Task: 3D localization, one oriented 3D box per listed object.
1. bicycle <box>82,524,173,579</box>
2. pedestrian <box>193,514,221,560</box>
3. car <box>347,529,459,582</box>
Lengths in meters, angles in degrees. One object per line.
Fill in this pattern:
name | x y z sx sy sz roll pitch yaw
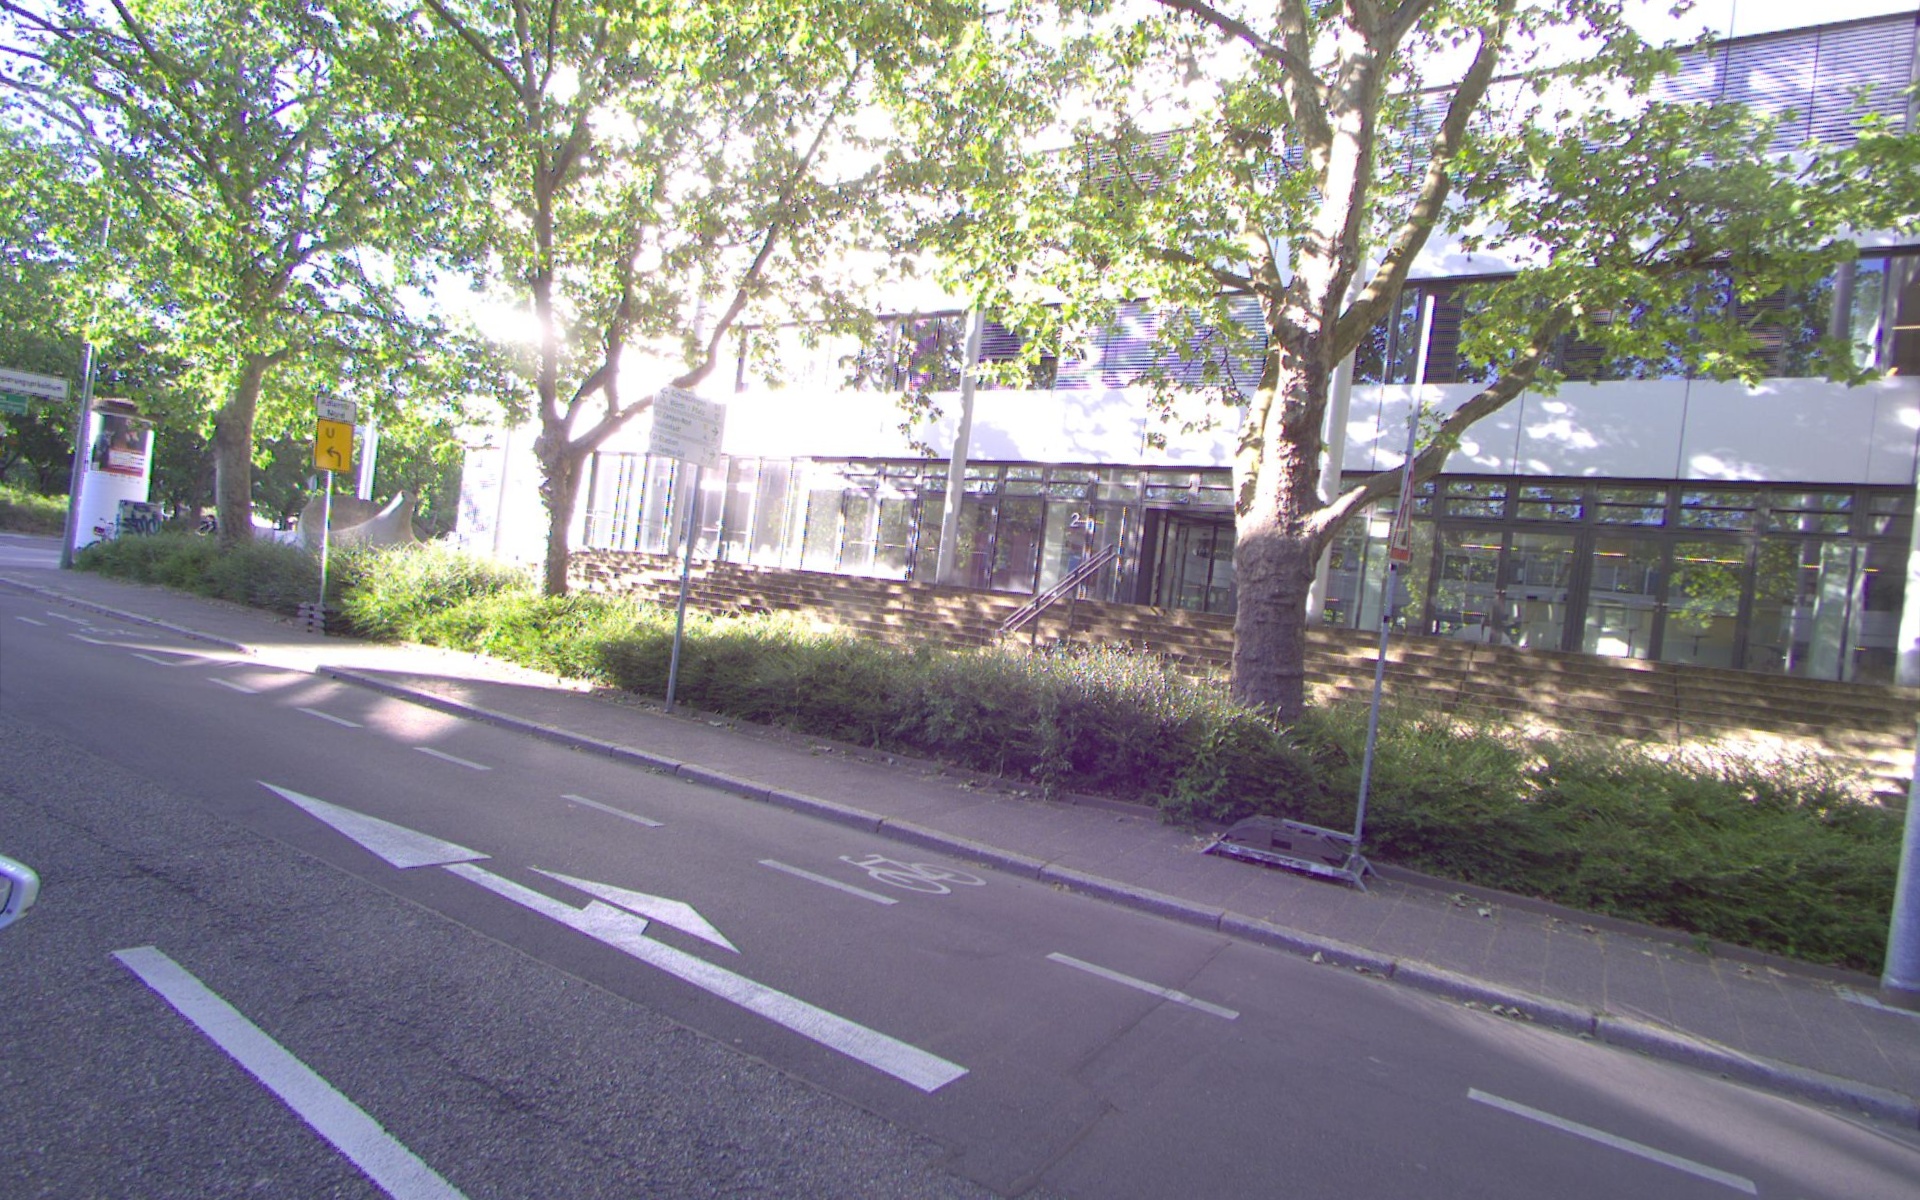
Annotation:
bicycle | -19.097 -1.090 23.103 0.529 1.049 1.418 7 -1 28
pedestrian | -31.390 -2.632 41.936 0.620 1.805 0.620 7 0 34
car | -25.882 -2.056 46.837 1.969 1.805 3.998 7 -1 37
